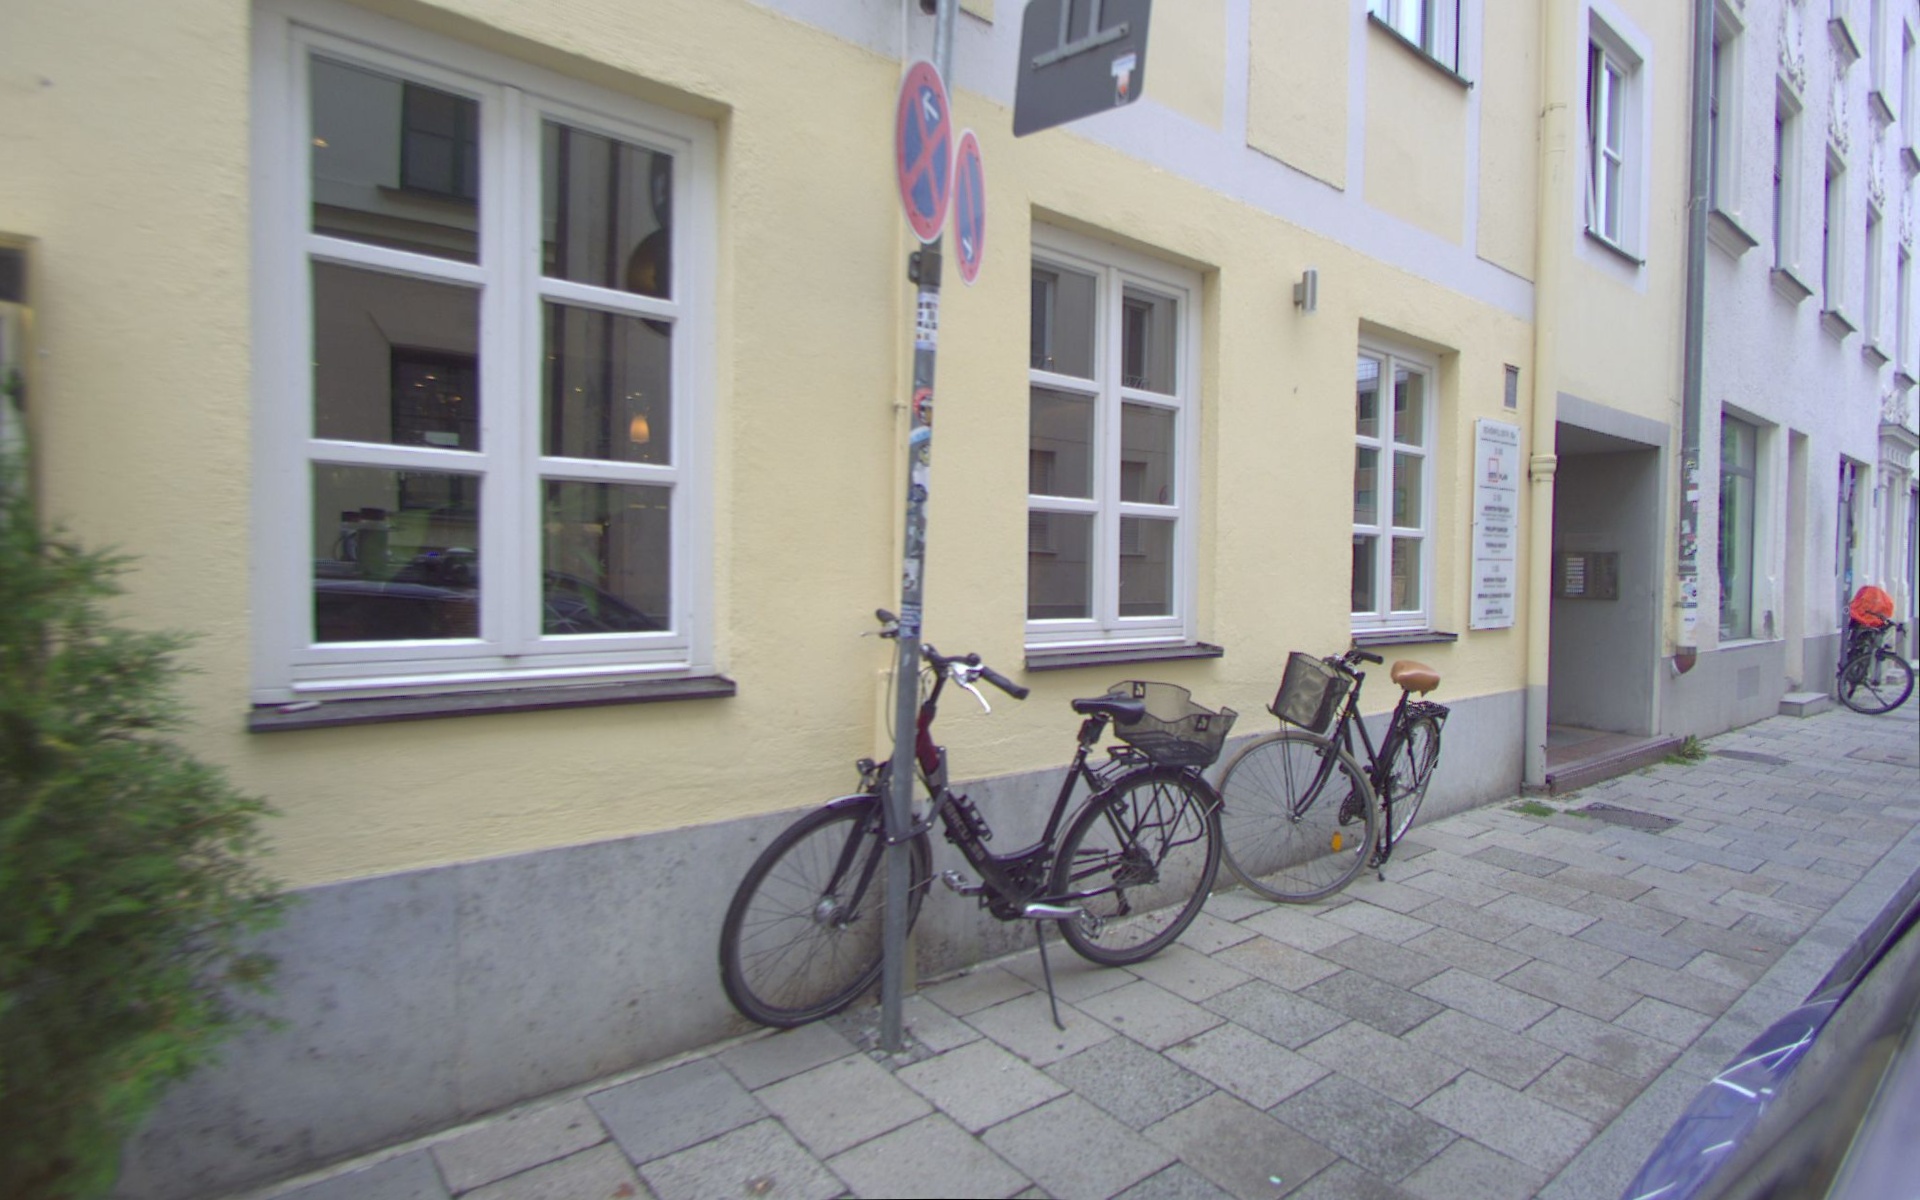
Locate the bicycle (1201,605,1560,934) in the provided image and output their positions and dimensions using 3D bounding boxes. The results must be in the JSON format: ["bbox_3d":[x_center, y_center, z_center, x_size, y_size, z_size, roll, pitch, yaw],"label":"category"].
[{"bbox_3d":[1.943,0.625,4.517,1.951,1.150,0.567,0,3,-39],"label":"bicycle"}]

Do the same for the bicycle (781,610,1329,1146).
[{"bbox_3d":[0.355,0.632,2.996,1.653,1.150,0.567,0,3,-39],"label":"bicycle"}]

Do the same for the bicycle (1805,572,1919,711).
[{"bbox_3d":[10.343,0.417,11.427,2.082,1.413,0.716,0,3,-37],"label":"bicycle"}]
